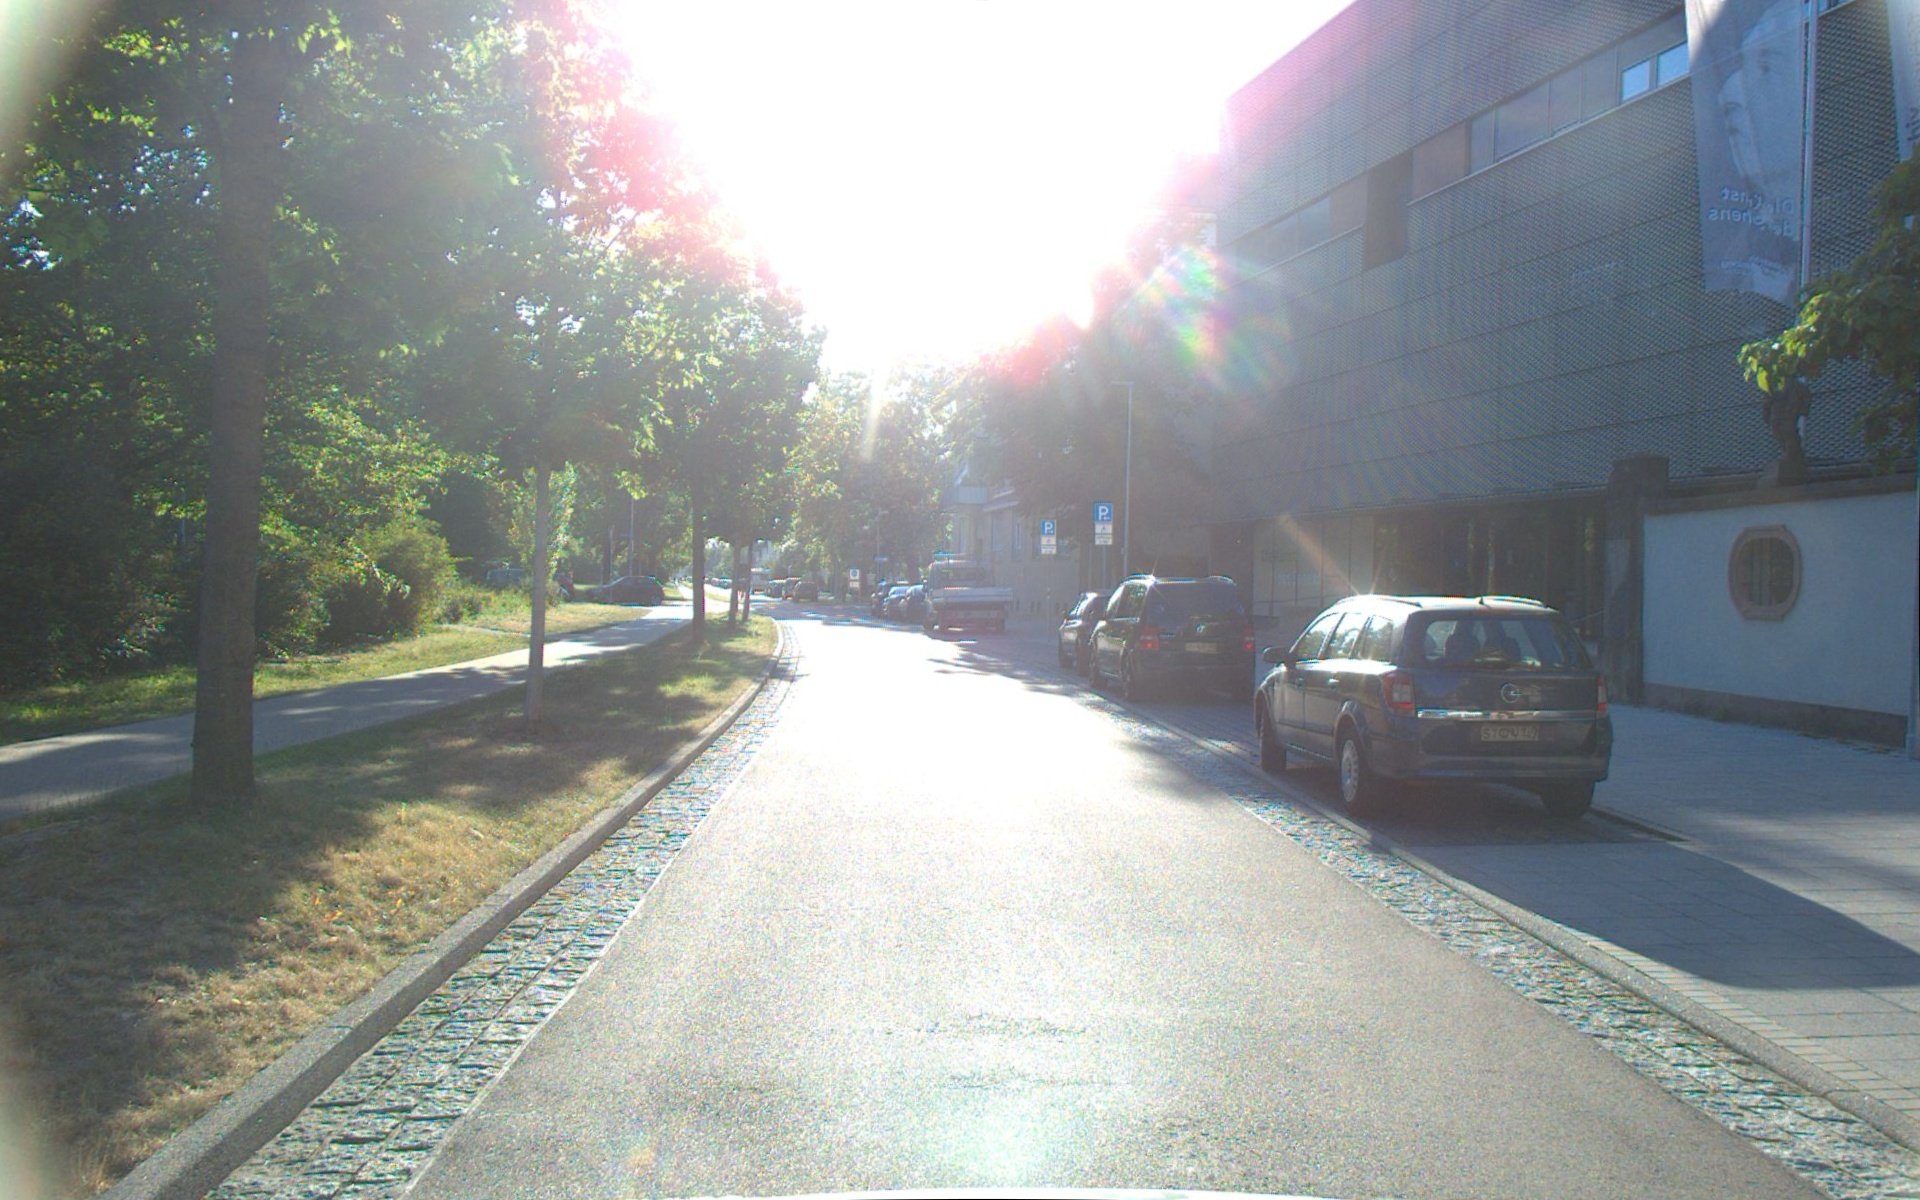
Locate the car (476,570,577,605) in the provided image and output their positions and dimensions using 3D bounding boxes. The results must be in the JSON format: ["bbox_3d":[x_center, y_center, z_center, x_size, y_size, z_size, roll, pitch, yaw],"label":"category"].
[{"bbox_3d":[-19.056,-0.555,72.797,3.952,1.445,1.751,1,1,-34],"label":"car"}]

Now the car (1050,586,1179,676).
[{"bbox_3d":[2.644,0.486,29.110,1.690,1.446,3.904,0,1,-4],"label":"car"}]

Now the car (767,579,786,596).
[{"bbox_3d":[-17.244,-1.207,155.262,1.760,1.536,3.994,1,1,-7],"label":"car"}]

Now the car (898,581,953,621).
[{"bbox_3d":[-1.353,0.020,63.164,1.659,1.465,3.543,0,1,-9],"label":"car"}]

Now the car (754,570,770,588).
[{"bbox_3d":[-22.999,-2.471,191.827,1.760,2.034,3.994,1,1,-7],"label":"car"}]

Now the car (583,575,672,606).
[{"bbox_3d":[-16.453,-0.485,81.859,3.954,1.445,1.750,1,1,-35],"label":"car"}]

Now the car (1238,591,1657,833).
[{"bbox_3d":[3.498,0.700,12.800,1.713,1.492,4.475,-1,1,-3],"label":"car"}]

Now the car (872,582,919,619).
[{"bbox_3d":[-2.944,-0.008,74.299,1.659,1.592,4.096,0,1,-9],"label":"car"}]

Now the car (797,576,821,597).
[{"bbox_3d":[-11.520,-1.043,126.389,1.758,1.536,3.996,1,1,-5],"label":"car"}]

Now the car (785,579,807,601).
[{"bbox_3d":[-13.916,-0.864,140.159,1.760,1.754,3.994,1,1,-7],"label":"car"}]

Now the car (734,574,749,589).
[{"bbox_3d":[-30.727,-2.570,232.651,1.956,2.004,3.993,2,0,-8],"label":"car"}]

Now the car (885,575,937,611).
[{"bbox_3d":[-2.051,-0.312,68.346,1.659,1.465,4.096,0,1,-9],"label":"car"}]

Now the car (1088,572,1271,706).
[{"bbox_3d":[2.974,0.460,23.236,1.691,1.698,4.110,-1,1,-5],"label":"car"}]

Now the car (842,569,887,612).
[{"bbox_3d":[-4.748,-0.469,81.700,1.789,2.049,3.597,1,0,-10],"label":"car"}]

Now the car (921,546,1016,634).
[{"bbox_3d":[0.175,-0.346,52.081,2.169,2.574,6.138,-1,1,-7],"label":"car"}]

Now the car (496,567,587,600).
[{"bbox_3d":[-20.071,-0.792,79.369,3.874,1.445,1.753,1,1,-32],"label":"car"}]
